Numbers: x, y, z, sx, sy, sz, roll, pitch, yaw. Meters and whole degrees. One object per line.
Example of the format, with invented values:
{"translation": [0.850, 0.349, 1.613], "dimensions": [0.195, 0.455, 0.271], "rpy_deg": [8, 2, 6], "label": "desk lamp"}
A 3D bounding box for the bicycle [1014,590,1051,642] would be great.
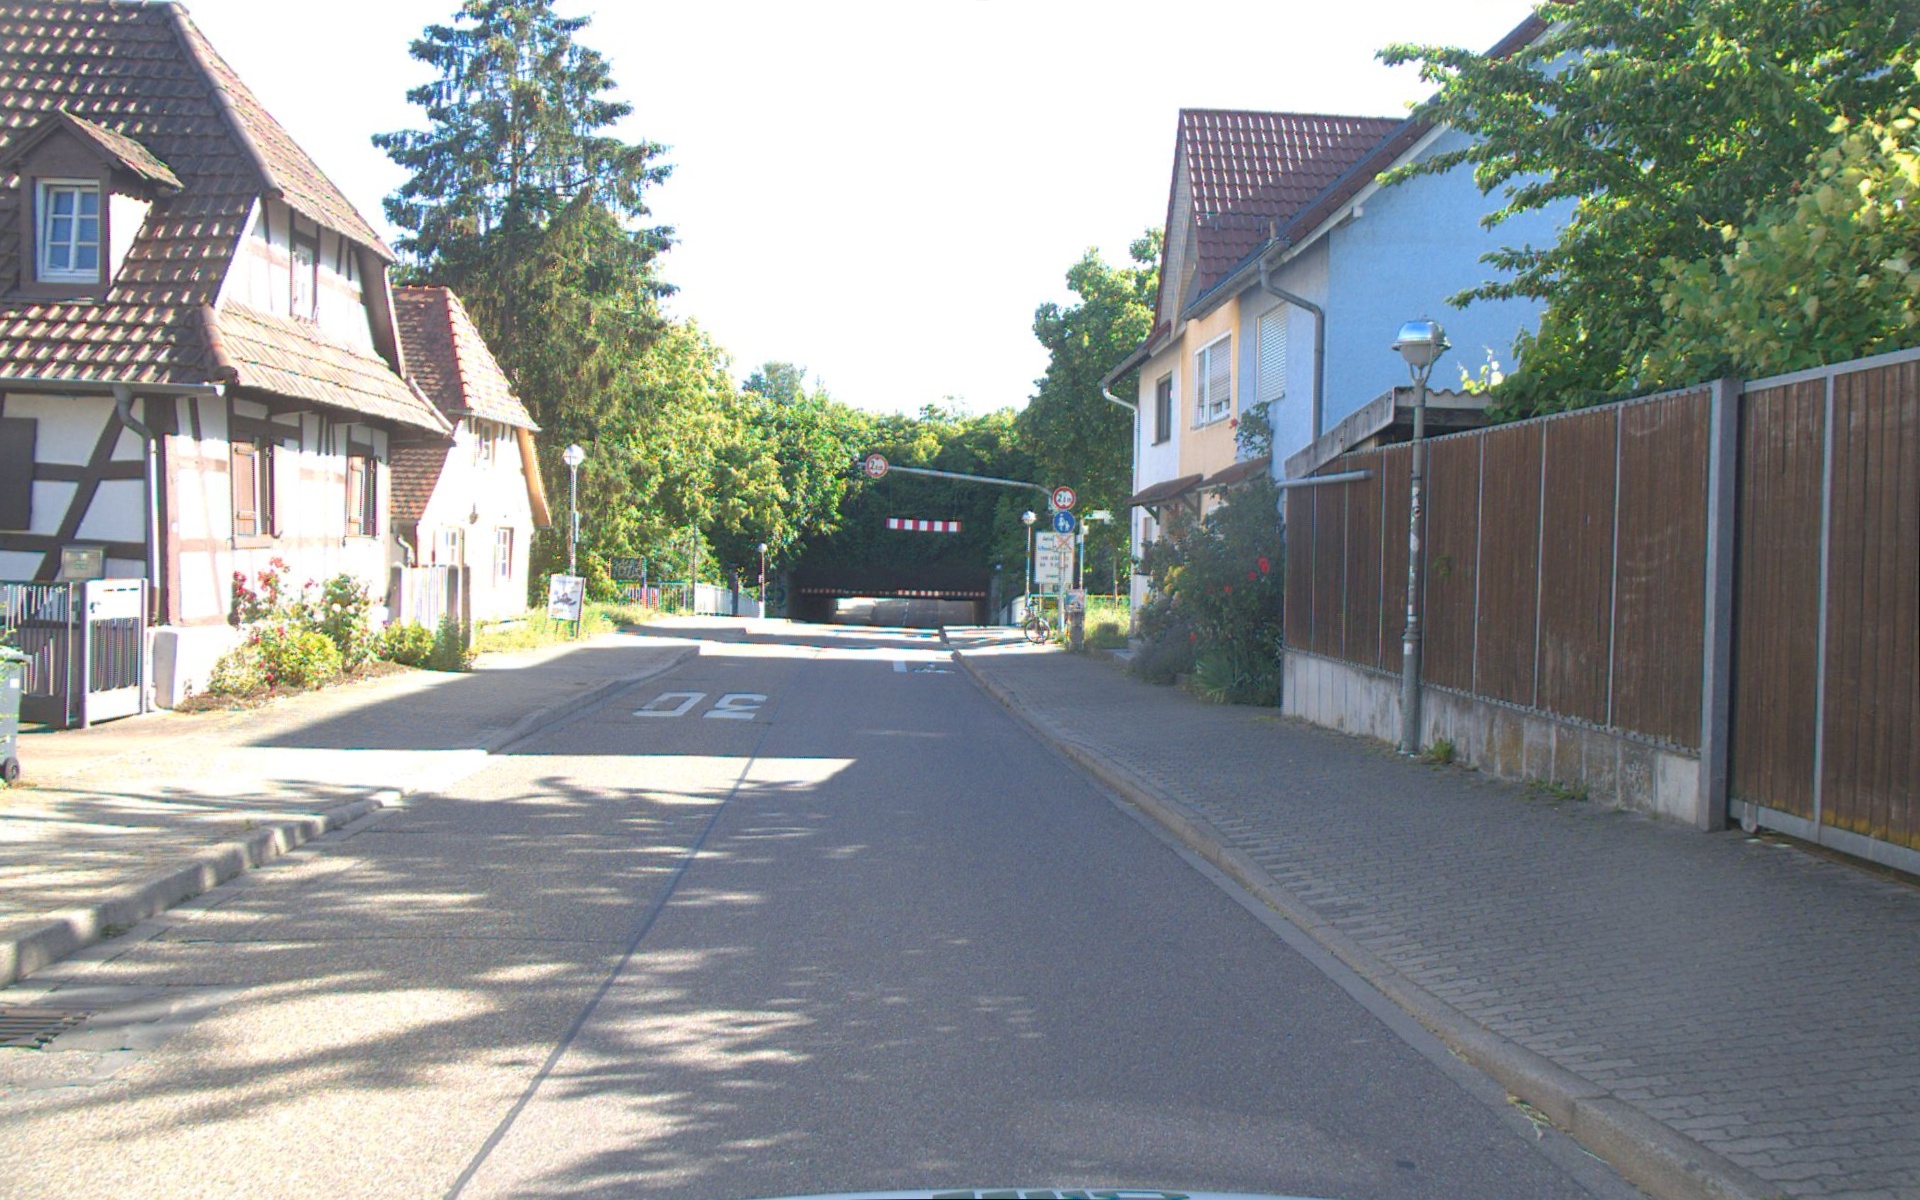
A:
{"translation": [1.763, 0.378, 40.293], "dimensions": [0.675, 1.177, 1.539], "rpy_deg": [-4, 1, -3], "label": "bicycle"}

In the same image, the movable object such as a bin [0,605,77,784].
{"translation": [-6.362, 0.622, 11.152], "dimensions": [0.467, 1.160, 0.667], "rpy_deg": [1, 0, -3], "label": "movable object such as a bin"}
